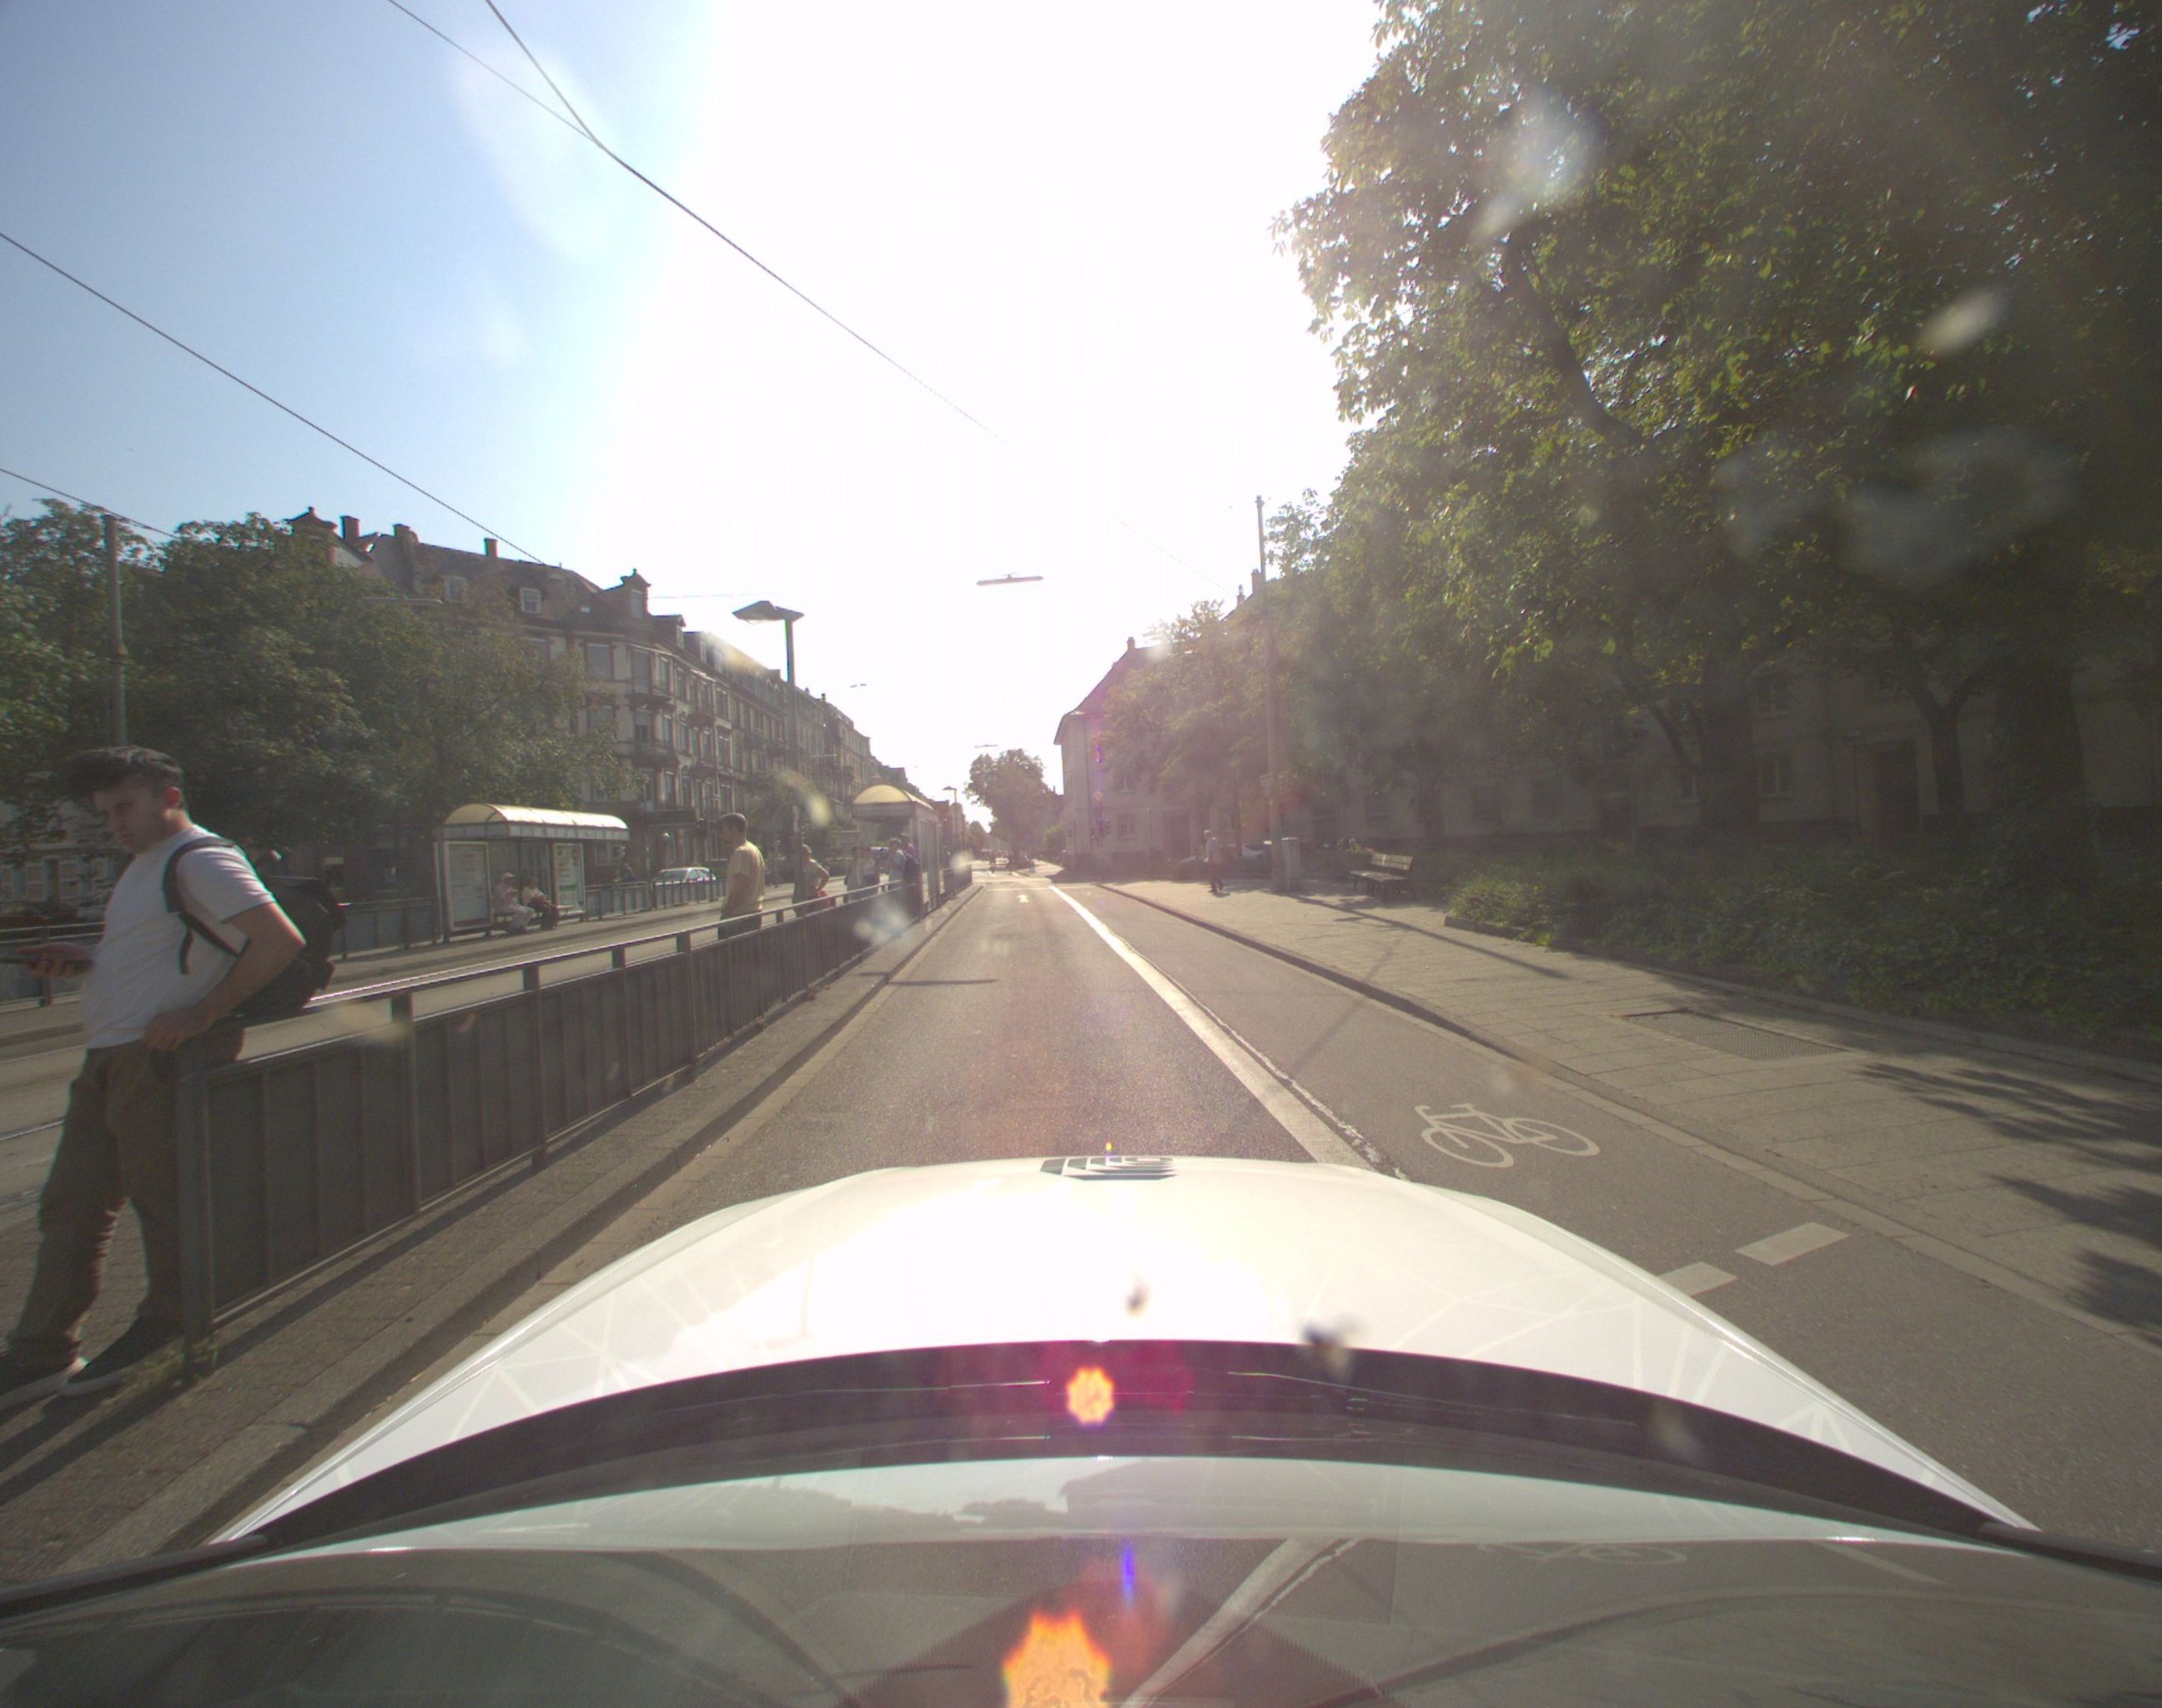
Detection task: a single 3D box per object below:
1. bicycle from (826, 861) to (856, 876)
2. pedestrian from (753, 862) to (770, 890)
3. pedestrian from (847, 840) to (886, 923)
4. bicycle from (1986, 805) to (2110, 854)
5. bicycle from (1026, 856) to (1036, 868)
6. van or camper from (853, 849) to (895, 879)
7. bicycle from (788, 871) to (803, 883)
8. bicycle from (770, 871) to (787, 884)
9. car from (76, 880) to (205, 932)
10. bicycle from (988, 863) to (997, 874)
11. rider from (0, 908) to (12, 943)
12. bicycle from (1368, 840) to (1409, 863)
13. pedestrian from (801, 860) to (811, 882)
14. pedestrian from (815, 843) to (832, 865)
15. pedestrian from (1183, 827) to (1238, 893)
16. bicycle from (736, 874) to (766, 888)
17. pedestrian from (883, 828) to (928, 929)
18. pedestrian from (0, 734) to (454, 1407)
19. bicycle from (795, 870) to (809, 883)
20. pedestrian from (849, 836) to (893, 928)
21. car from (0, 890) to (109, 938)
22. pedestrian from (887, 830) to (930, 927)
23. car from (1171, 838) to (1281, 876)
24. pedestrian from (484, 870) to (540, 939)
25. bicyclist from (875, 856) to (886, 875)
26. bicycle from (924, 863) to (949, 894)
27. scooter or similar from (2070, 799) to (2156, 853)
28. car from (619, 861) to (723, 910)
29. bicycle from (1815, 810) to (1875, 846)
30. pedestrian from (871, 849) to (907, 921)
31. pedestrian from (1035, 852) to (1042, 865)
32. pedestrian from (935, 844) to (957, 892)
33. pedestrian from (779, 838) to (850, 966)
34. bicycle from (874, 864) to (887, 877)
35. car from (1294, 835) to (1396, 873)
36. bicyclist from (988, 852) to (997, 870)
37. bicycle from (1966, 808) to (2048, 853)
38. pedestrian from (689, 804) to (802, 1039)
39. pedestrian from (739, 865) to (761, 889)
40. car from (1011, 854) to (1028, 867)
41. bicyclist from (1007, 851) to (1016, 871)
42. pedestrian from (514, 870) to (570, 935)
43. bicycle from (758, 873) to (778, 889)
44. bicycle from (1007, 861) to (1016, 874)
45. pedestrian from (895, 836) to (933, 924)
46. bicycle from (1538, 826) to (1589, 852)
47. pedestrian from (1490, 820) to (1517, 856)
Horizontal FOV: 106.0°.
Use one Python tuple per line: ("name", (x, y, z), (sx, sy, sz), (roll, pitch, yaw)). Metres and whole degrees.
("bicycle", (-24.765, 1.500, 84.121), (2.876, 1.455, 0.994), (-2, 0, -12))
("pedestrian", (-21.397, 1.482, 54.583), (0.727, 1.806, 1.091), (-3, 0, -6))
("pedestrian", (-4.581, 0.572, 17.428), (0.587, 1.721, 0.606), (-3, 0, -3))
("bicycle", (23.247, -0.579, 19.612), (1.817, 1.058, 0.612), (-3, 0, 21))
("bicycle", (-4.856, 0.751, 78.234), (0.771, 1.104, 2.327), (-3, 0, -7))
("van or camper", (-19.723, 0.907, 77.803), (2.042, 2.644, 6.093), (-4, -1, 2))
("bicycle", (-21.700, 1.751, 61.937), (0.525, 0.860, 1.701), (-3, 0, -2))
("bicycle", (-21.893, 1.663, 59.002), (0.525, 0.860, 1.827), (-3, 0, -2))
("car", (-42.067, 2.327, 36.459), (4.540, 2.016, 2.090), (-3, 0, 18))
("bicycle", (-6.998, 1.140, 64.554), (0.625, 0.909, 1.522), (-1, 0, -5))
("rider", (-48.445, 3.201, 36.071), (1.102, 1.511, 1.002), (-2, 0, 18))
("bicycle", (15.067, -0.118, 39.876), (0.611, 1.058, 1.819), (-3, 2, -37))
("pedestrian", (-21.702, 1.339, 64.190), (0.638, 1.678, 0.630), (-3, 0, -17))
("pedestrian", (-21.001, 0.005, 66.434), (0.902, 1.766, 1.185), (-3, 0, -1))
("pedestrian", (3.649, 0.165, 22.889), (0.957, 1.724, 1.087), (-6, 0, 36))
("bicycle", (-22.375, 1.839, 55.236), (0.521, 0.860, 1.840), (-3, 0, 33))
("pedestrian", (-3.336, 0.450, 15.528), (0.635, 1.848, 0.633), (-3, 0, -3))
("pedestrian", (-2.620, 0.562, 2.504), (0.727, 1.769, 0.738), (-1, 2, -2))
("bicycle", (-21.805, 1.729, 63.626), (0.525, 0.927, 1.701), (-3, 0, -2))
("pedestrian", (-4.139, 0.541, 16.077), (0.635, 1.748, 0.633), (-3, 0, -3))
("car", (-49.225, 2.865, 38.806), (4.540, 2.016, 2.090), (-3, 0, 18))
("pedestrian", (-3.418, 0.475, 16.194), (0.635, 1.848, 0.633), (-3, 0, -3))
("car", (7.066, 0.155, 39.974), (4.889, 1.469, 1.889), (-3, 2, 36))
("pedestrian", (-12.728, 1.114, 18.237), (0.675, 1.456, 0.717), (-3, 0, -4))
("bicyclist", (-17.998, 1.010, 72.977), (0.671, 1.614, 1.043), (-3, 0, -3))
("bicycle", (-5.481, 0.907, 30.959), (0.470, 1.104, 1.739), (-3, 0, 4))
("scooter or similar", (23.441, -0.627, 18.518), (1.099, 1.158, 0.445), (-3, 0, 30))
("car", (-16.275, 1.183, 32.595), (1.989, 1.651, 4.477), (-3, 0, -3))
("bicycle", (24.007, -0.810, 25.626), (0.414, 1.060, 1.487), (-3, 0, -1))
("pedestrian", (-4.256, 0.680, 18.094), (0.587, 1.544, 0.606), (-3, 0, -3))
("pedestrian", (-6.156, 0.635, 118.309), (0.749, 1.749, 0.878), (-3, 0, 2))
("pedestrian", (-5.130, 0.511, 30.900), (0.689, 1.766, 0.795), (-3, 0, -6))
("pedestrian", (-3.686, 0.641, 11.288), (0.815, 1.654, 0.862), (-3, 0, -19))
("bicycle", (-17.944, 1.476, 72.920), (0.682, 1.103, 2.067), (-3, 0, -3))
("car", (11.572, 0.009, 35.843), (1.761, 1.451, 3.844), (-5, 2, -39))
("bicyclist", (-7.006, 0.558, 64.570), (0.625, 1.401, 0.927), (-1, -1, -6))
("bicycle", (23.689, -0.609, 20.835), (1.867, 1.058, 0.605), (-3, 0, -15))
("pedestrian", (-2.722, 0.522, 6.669), (0.557, 1.802, 0.676), (-3, 0, -2))
("pedestrian", (-22.094, 1.519, 54.337), (0.831, 1.571, 0.951), (-3, 0, 29))
("car", (-7.675, 0.796, 101.768), (1.640, 1.540, 3.842), (-5, 0, 1))
("bicyclist", (-5.268, 0.545, 61.909), (0.653, 1.474, 0.907), (-1, -1, -6))
("pedestrian", (-12.775, 1.142, 19.315), (0.791, 1.456, 0.717), (-3, 0, -4))
("bicycle", (-20.964, 1.804, 54.524), (0.617, 1.007, 2.147), (-3, 0, -5))
("bicycle", (-5.267, 1.025, 61.918), (0.653, 0.909, 1.771), (-1, 0, -5))
("pedestrian", (-3.452, 0.531, 16.891), (0.587, 1.764, 0.606), (-3, 0, -3))
("bicycle", (20.968, -0.641, 35.411), (0.535, 1.007, 1.893), (-3, 0, -25))
("pedestrian", (20.321, -0.776, 39.187), (0.690, 1.671, 0.857), (-3, 0, -32))
